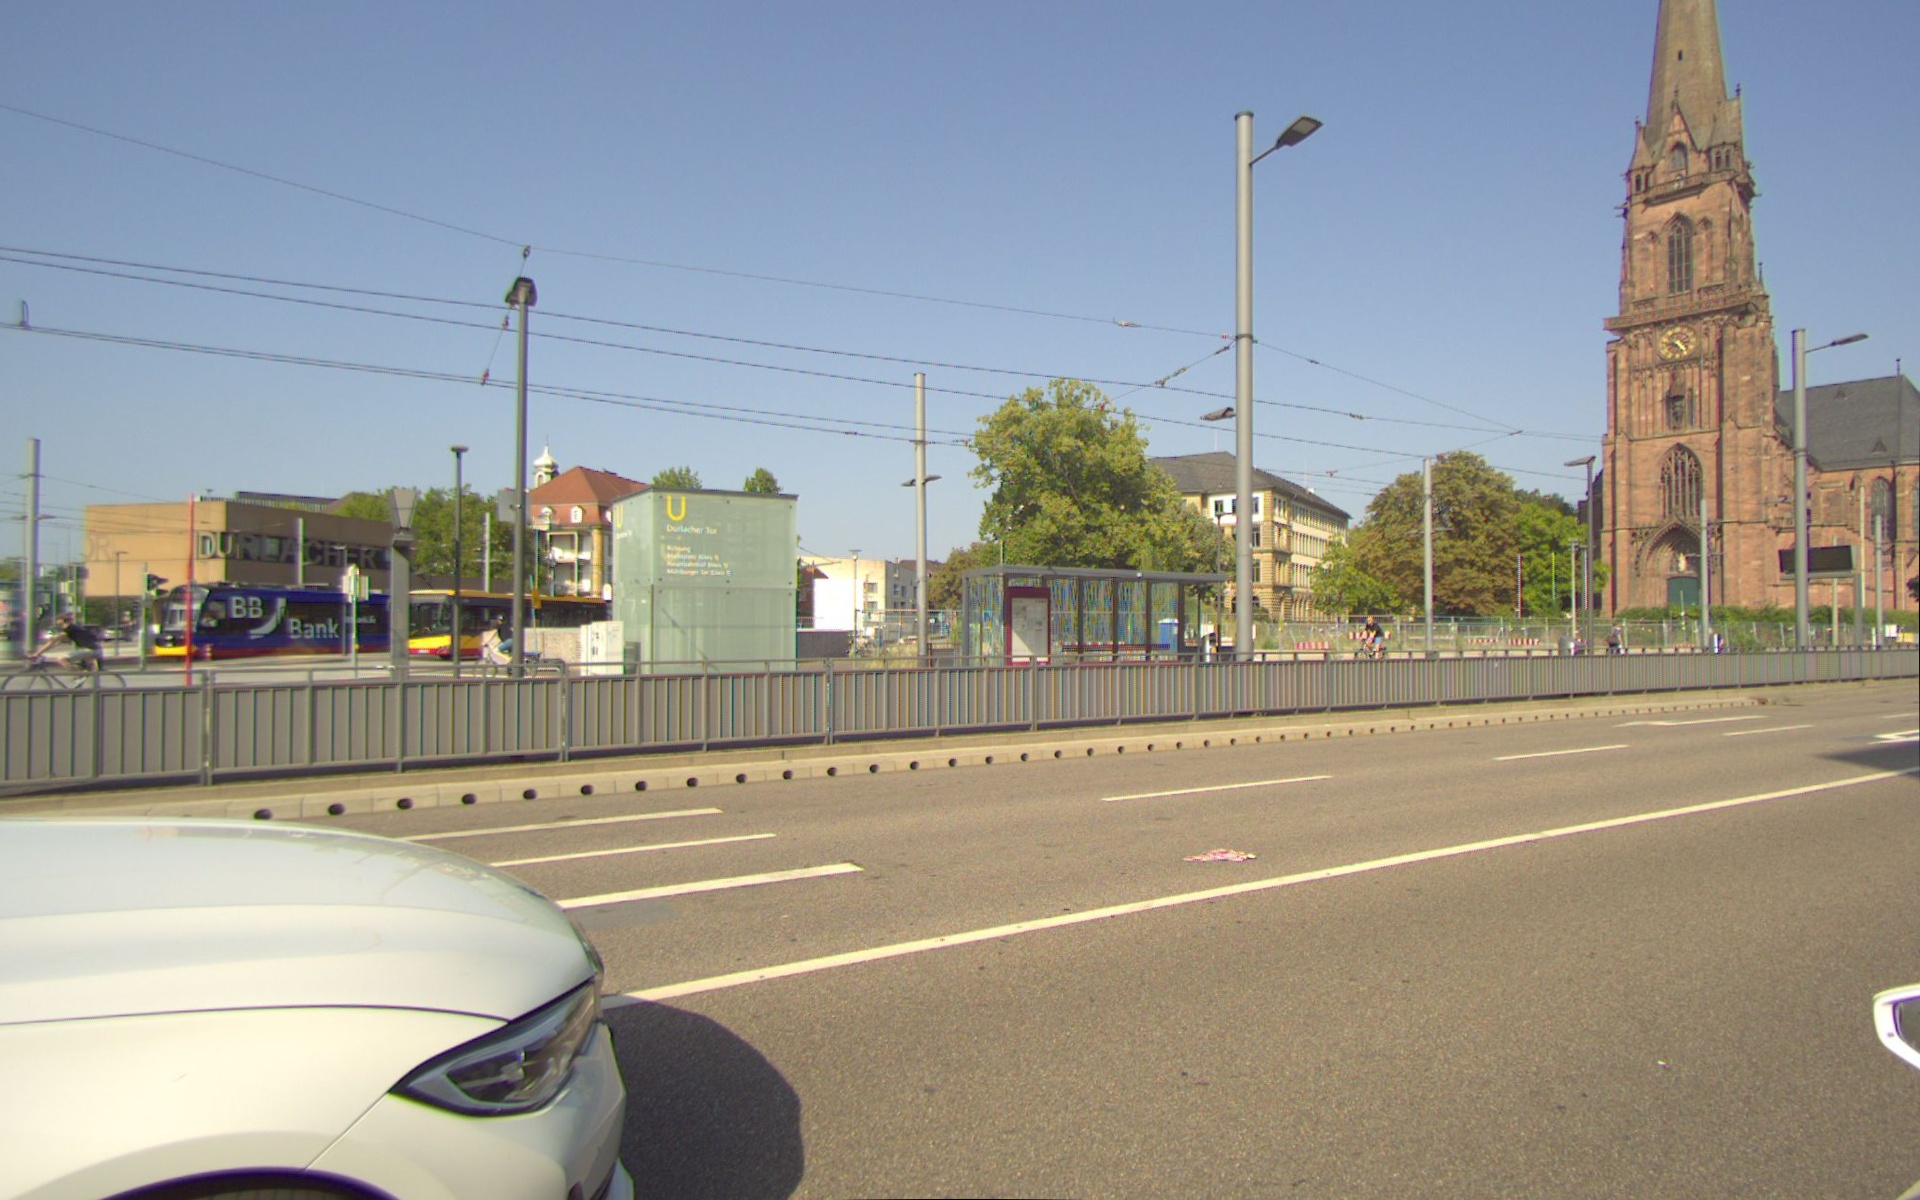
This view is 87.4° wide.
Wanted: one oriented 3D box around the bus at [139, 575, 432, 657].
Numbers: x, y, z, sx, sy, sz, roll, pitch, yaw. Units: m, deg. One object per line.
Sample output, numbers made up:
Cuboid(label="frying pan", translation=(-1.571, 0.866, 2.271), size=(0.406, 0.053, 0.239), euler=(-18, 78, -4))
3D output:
Cuboid(label="bus", translation=(-32.150, 0.859, 49.228), size=(3.160, 3.464, 13.325), euler=(0, -2, 13))

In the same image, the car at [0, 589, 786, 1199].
Cuboid(label="car", translation=(-2.743, 0.696, 1.150), size=(4.730, 1.446, 1.796), euler=(1, 1, -37))

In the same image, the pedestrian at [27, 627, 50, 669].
Cuboid(label="pedestrian", translation=(-39.081, 2.023, 42.612), size=(0.395, 1.792, 0.559), euler=(0, -1, 16))

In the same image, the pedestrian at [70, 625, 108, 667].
Cuboid(label="pedestrian", translation=(-27.664, 1.457, 31.922), size=(0.752, 1.309, 0.558), euler=(0, -1, 13))

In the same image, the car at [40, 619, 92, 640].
Cuboid(label="car", translation=(-66.823, 2.200, 75.155), size=(1.758, 1.528, 3.976), euler=(1, -2, -24))

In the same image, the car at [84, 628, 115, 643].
Cuboid(label="car", translation=(-86.590, 3.599, 101.127), size=(1.473, 1.470, 3.503), euler=(0, -2, -24))

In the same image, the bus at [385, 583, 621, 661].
Cuboid(label="bus", translation=(-21.422, 1.109, 48.733), size=(3.159, 3.220, 13.326), euler=(0, -2, 12))

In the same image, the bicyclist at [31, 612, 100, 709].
Cuboid(label="bicyclist", translation=(-15.870, 1.066, 17.838), size=(0.781, 1.678, 0.584), euler=(1, -1, -30))

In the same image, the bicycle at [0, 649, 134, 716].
Cuboid(label="bicycle", translation=(-15.835, 1.447, 17.846), size=(1.727, 1.124, 0.399), euler=(1, -2, -32))

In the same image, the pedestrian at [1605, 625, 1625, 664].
Cuboid(label="pedestrian", translation=(29.727, 2.011, 45.610), size=(0.657, 1.723, 0.514), euler=(1, -1, -31))

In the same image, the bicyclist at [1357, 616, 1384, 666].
Cuboid(label="bicyclist", translation=(14.653, 1.448, 35.875), size=(0.810, 1.770, 0.484), euler=(1, -1, -30))

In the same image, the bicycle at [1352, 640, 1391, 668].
Cuboid(label="bicycle", translation=(14.704, 1.933, 35.886), size=(1.675, 0.966, 0.348), euler=(1, -2, -31))
